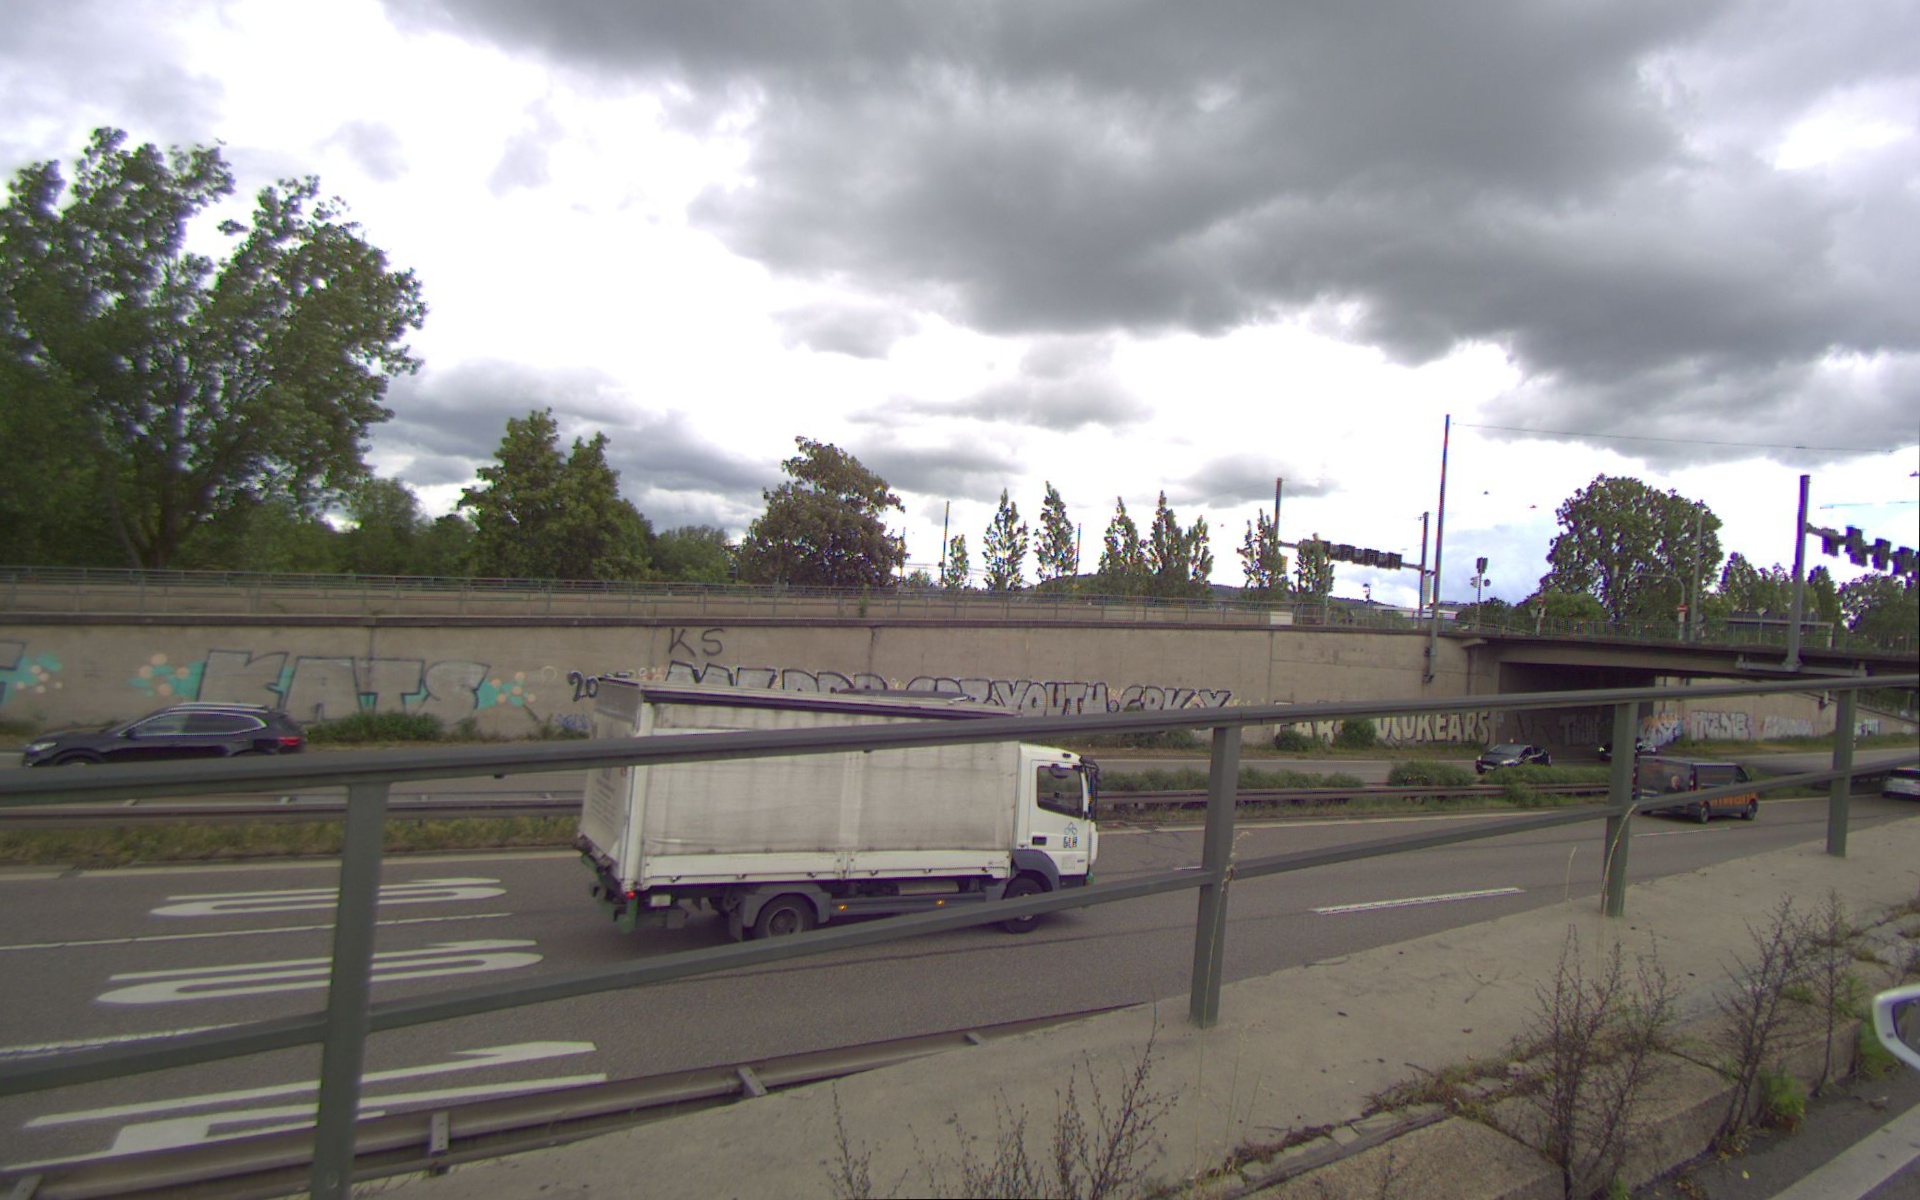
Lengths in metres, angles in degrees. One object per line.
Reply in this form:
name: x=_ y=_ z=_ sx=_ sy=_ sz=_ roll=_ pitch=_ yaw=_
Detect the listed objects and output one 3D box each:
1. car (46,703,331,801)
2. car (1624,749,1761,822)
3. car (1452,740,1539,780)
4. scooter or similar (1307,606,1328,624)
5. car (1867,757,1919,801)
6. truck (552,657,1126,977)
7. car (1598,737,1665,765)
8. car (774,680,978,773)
car: x=-15.521 y=3.091 z=20.575 sx=4.285 sy=1.671 sz=1.889 roll=6 pitch=-3 yaw=-30
car: x=24.614 y=6.149 z=33.702 sx=4.903 sy=2.028 sz=1.889 roll=5 pitch=-2 yaw=-30
car: x=23.708 y=7.072 z=44.440 sx=3.815 sy=1.520 sz=1.656 roll=6 pitch=-4 yaw=-30
scooter or similar: x=22.560 y=0.946 z=63.417 sx=1.403 sy=1.108 sz=0.539 roll=4 pitch=-2 yaw=-37
car: x=43.749 y=8.213 z=46.338 sx=4.136 sy=1.642 sz=1.887 roll=5 pitch=-2 yaw=-34
truck: x=-1.489 y=2.727 z=14.066 sx=7.357 sy=3.335 sz=2.733 roll=5 pitch=-2 yaw=-30
car: x=39.311 y=8.842 z=58.802 sx=4.065 sy=1.393 sz=1.702 roll=6 pitch=-4 yaw=-31
car: x=-2.637 y=4.066 z=32.244 sx=6.047 sy=2.580 sz=2.232 roll=5 pitch=-2 yaw=-31
